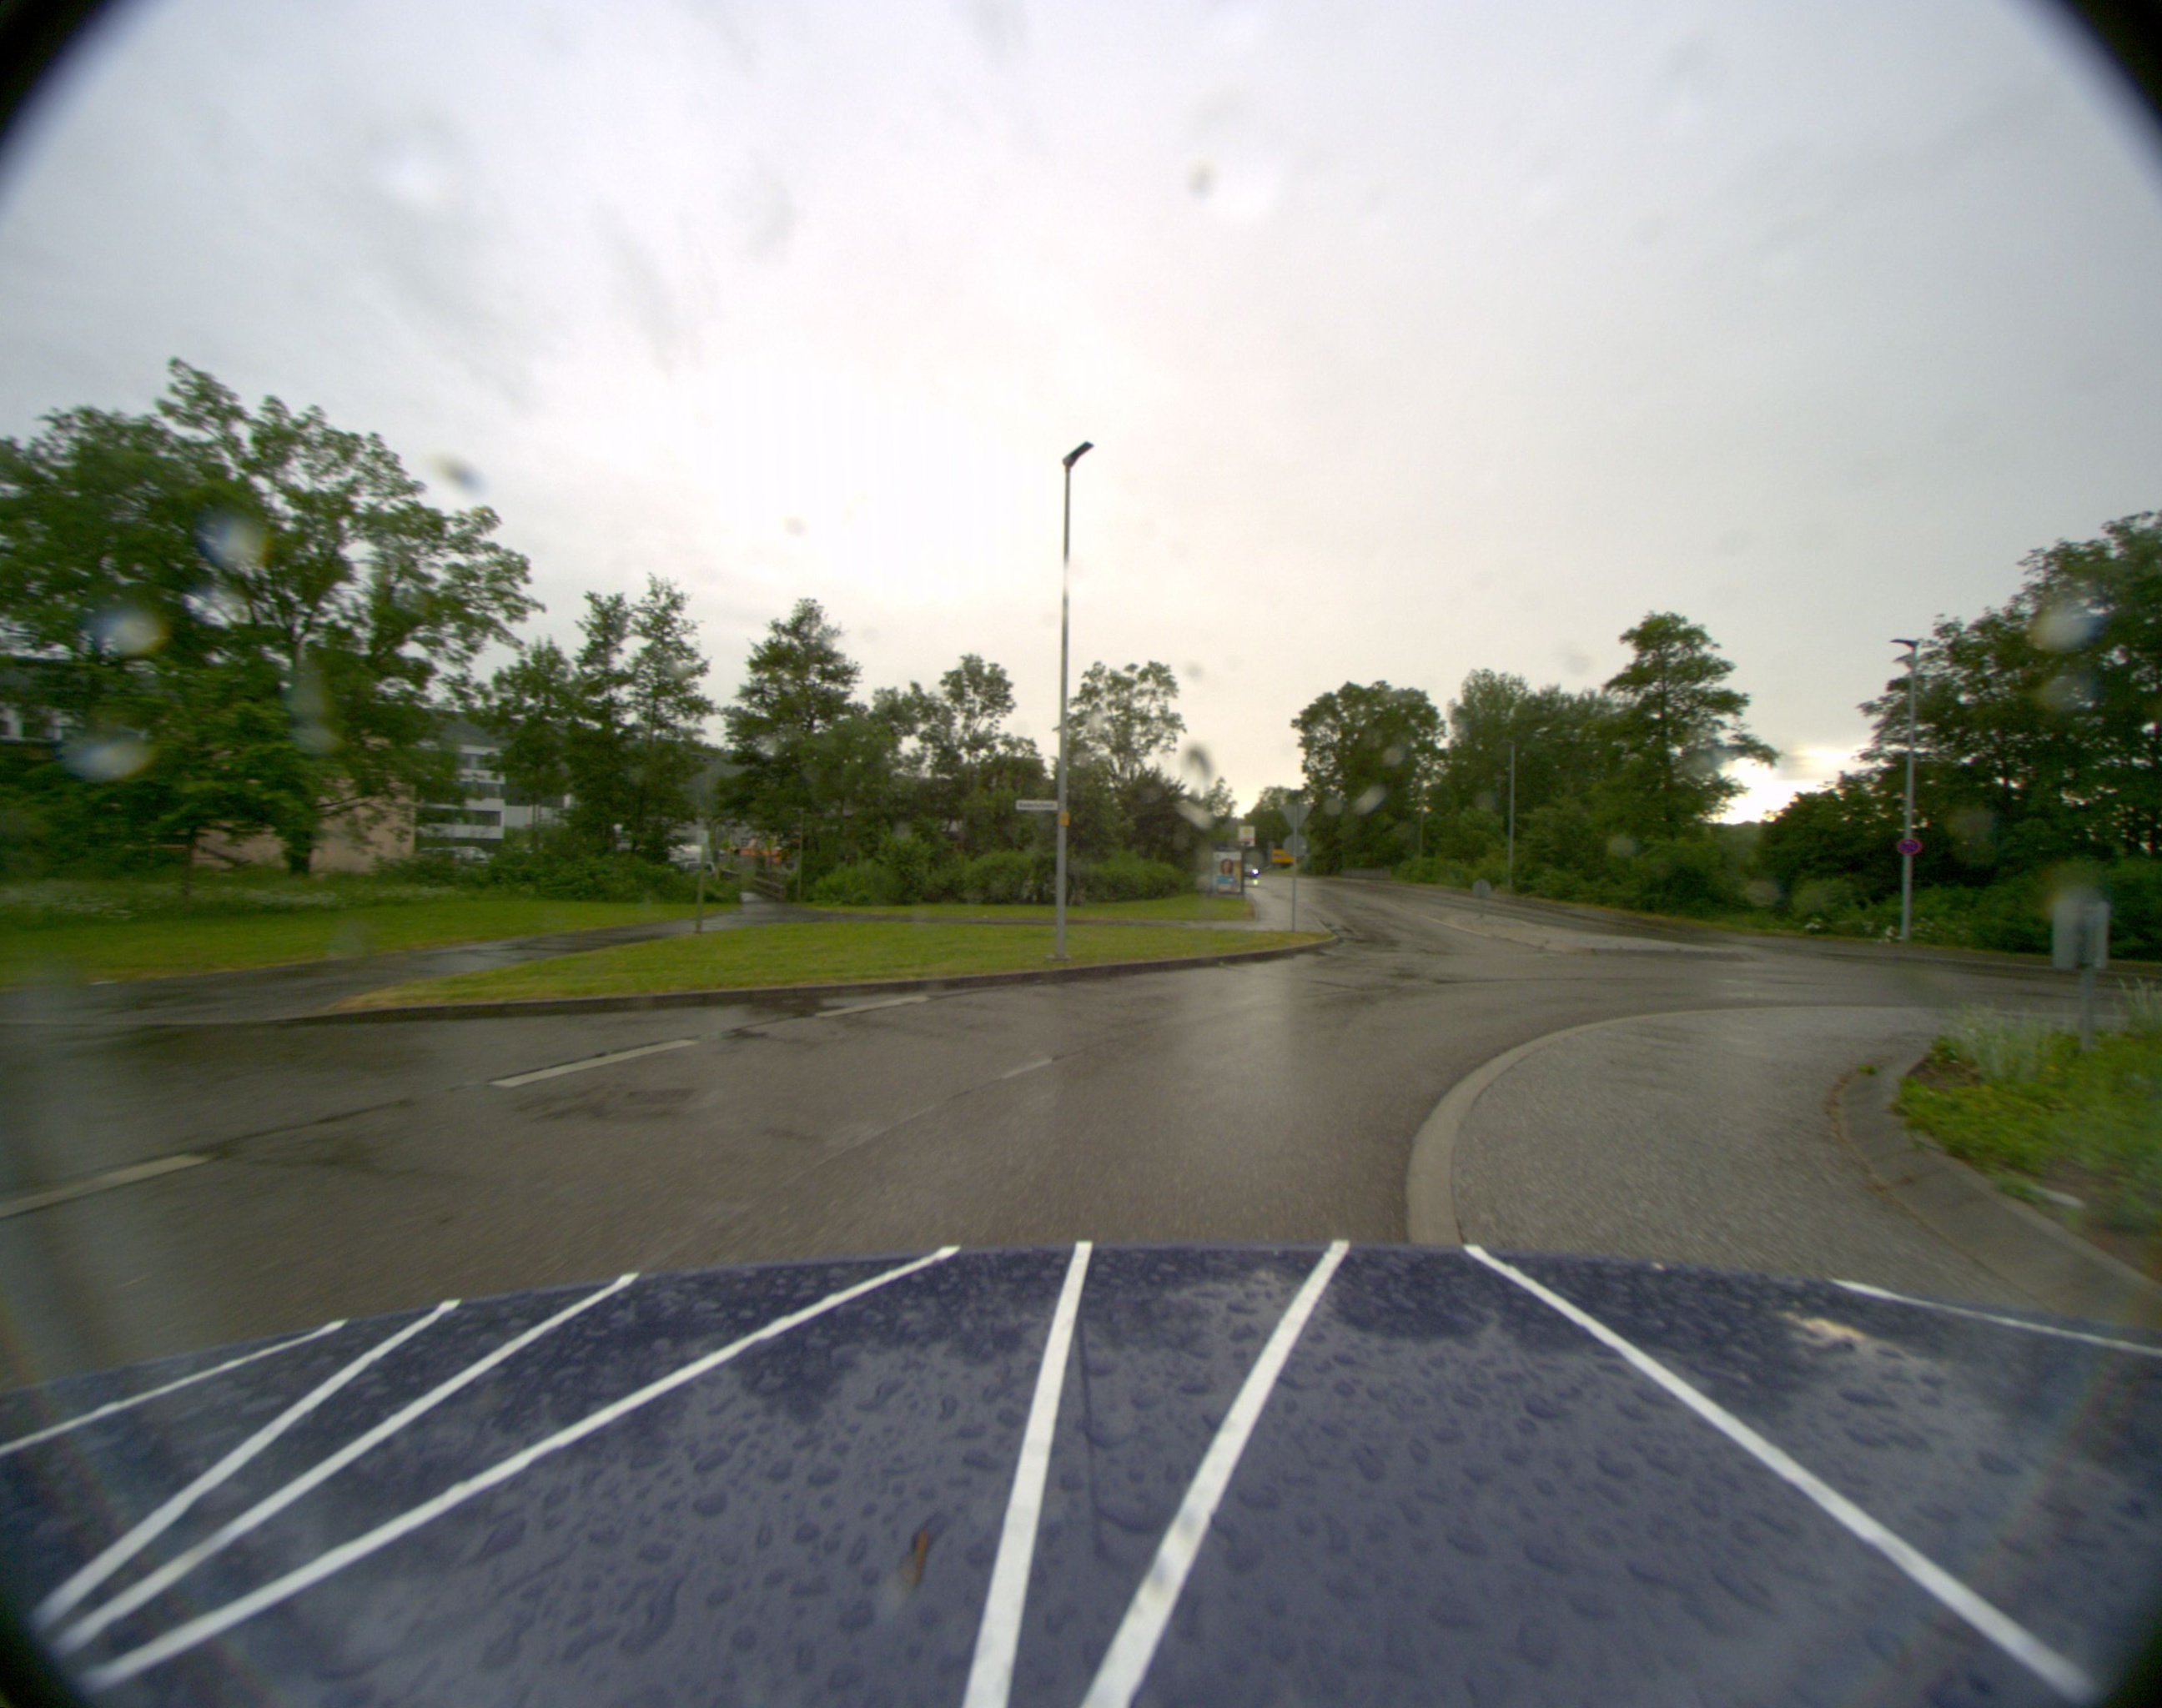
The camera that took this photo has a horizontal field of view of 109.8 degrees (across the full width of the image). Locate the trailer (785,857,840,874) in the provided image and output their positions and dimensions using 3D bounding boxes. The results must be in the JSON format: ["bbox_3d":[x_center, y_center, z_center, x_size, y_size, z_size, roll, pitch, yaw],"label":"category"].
[{"bbox_3d":[-35.449,1.485,100.356,6.641,2.002,2.573,1,1,-16],"label":"trailer"}]

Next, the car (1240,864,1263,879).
[{"bbox_3d":[17.676,1.818,78.809,1.854,1.481,4.123,1,0,7],"label":"car"}]

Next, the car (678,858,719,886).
[{"bbox_3d":[-25.110,1.168,49.760,2.004,1.703,3.990,1,0,-32],"label":"car"}]

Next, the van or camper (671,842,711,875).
[{"bbox_3d":[-29.849,0.306,58.236,2.548,2.231,5.962,4,-1,-27],"label":"van or camper"}]
